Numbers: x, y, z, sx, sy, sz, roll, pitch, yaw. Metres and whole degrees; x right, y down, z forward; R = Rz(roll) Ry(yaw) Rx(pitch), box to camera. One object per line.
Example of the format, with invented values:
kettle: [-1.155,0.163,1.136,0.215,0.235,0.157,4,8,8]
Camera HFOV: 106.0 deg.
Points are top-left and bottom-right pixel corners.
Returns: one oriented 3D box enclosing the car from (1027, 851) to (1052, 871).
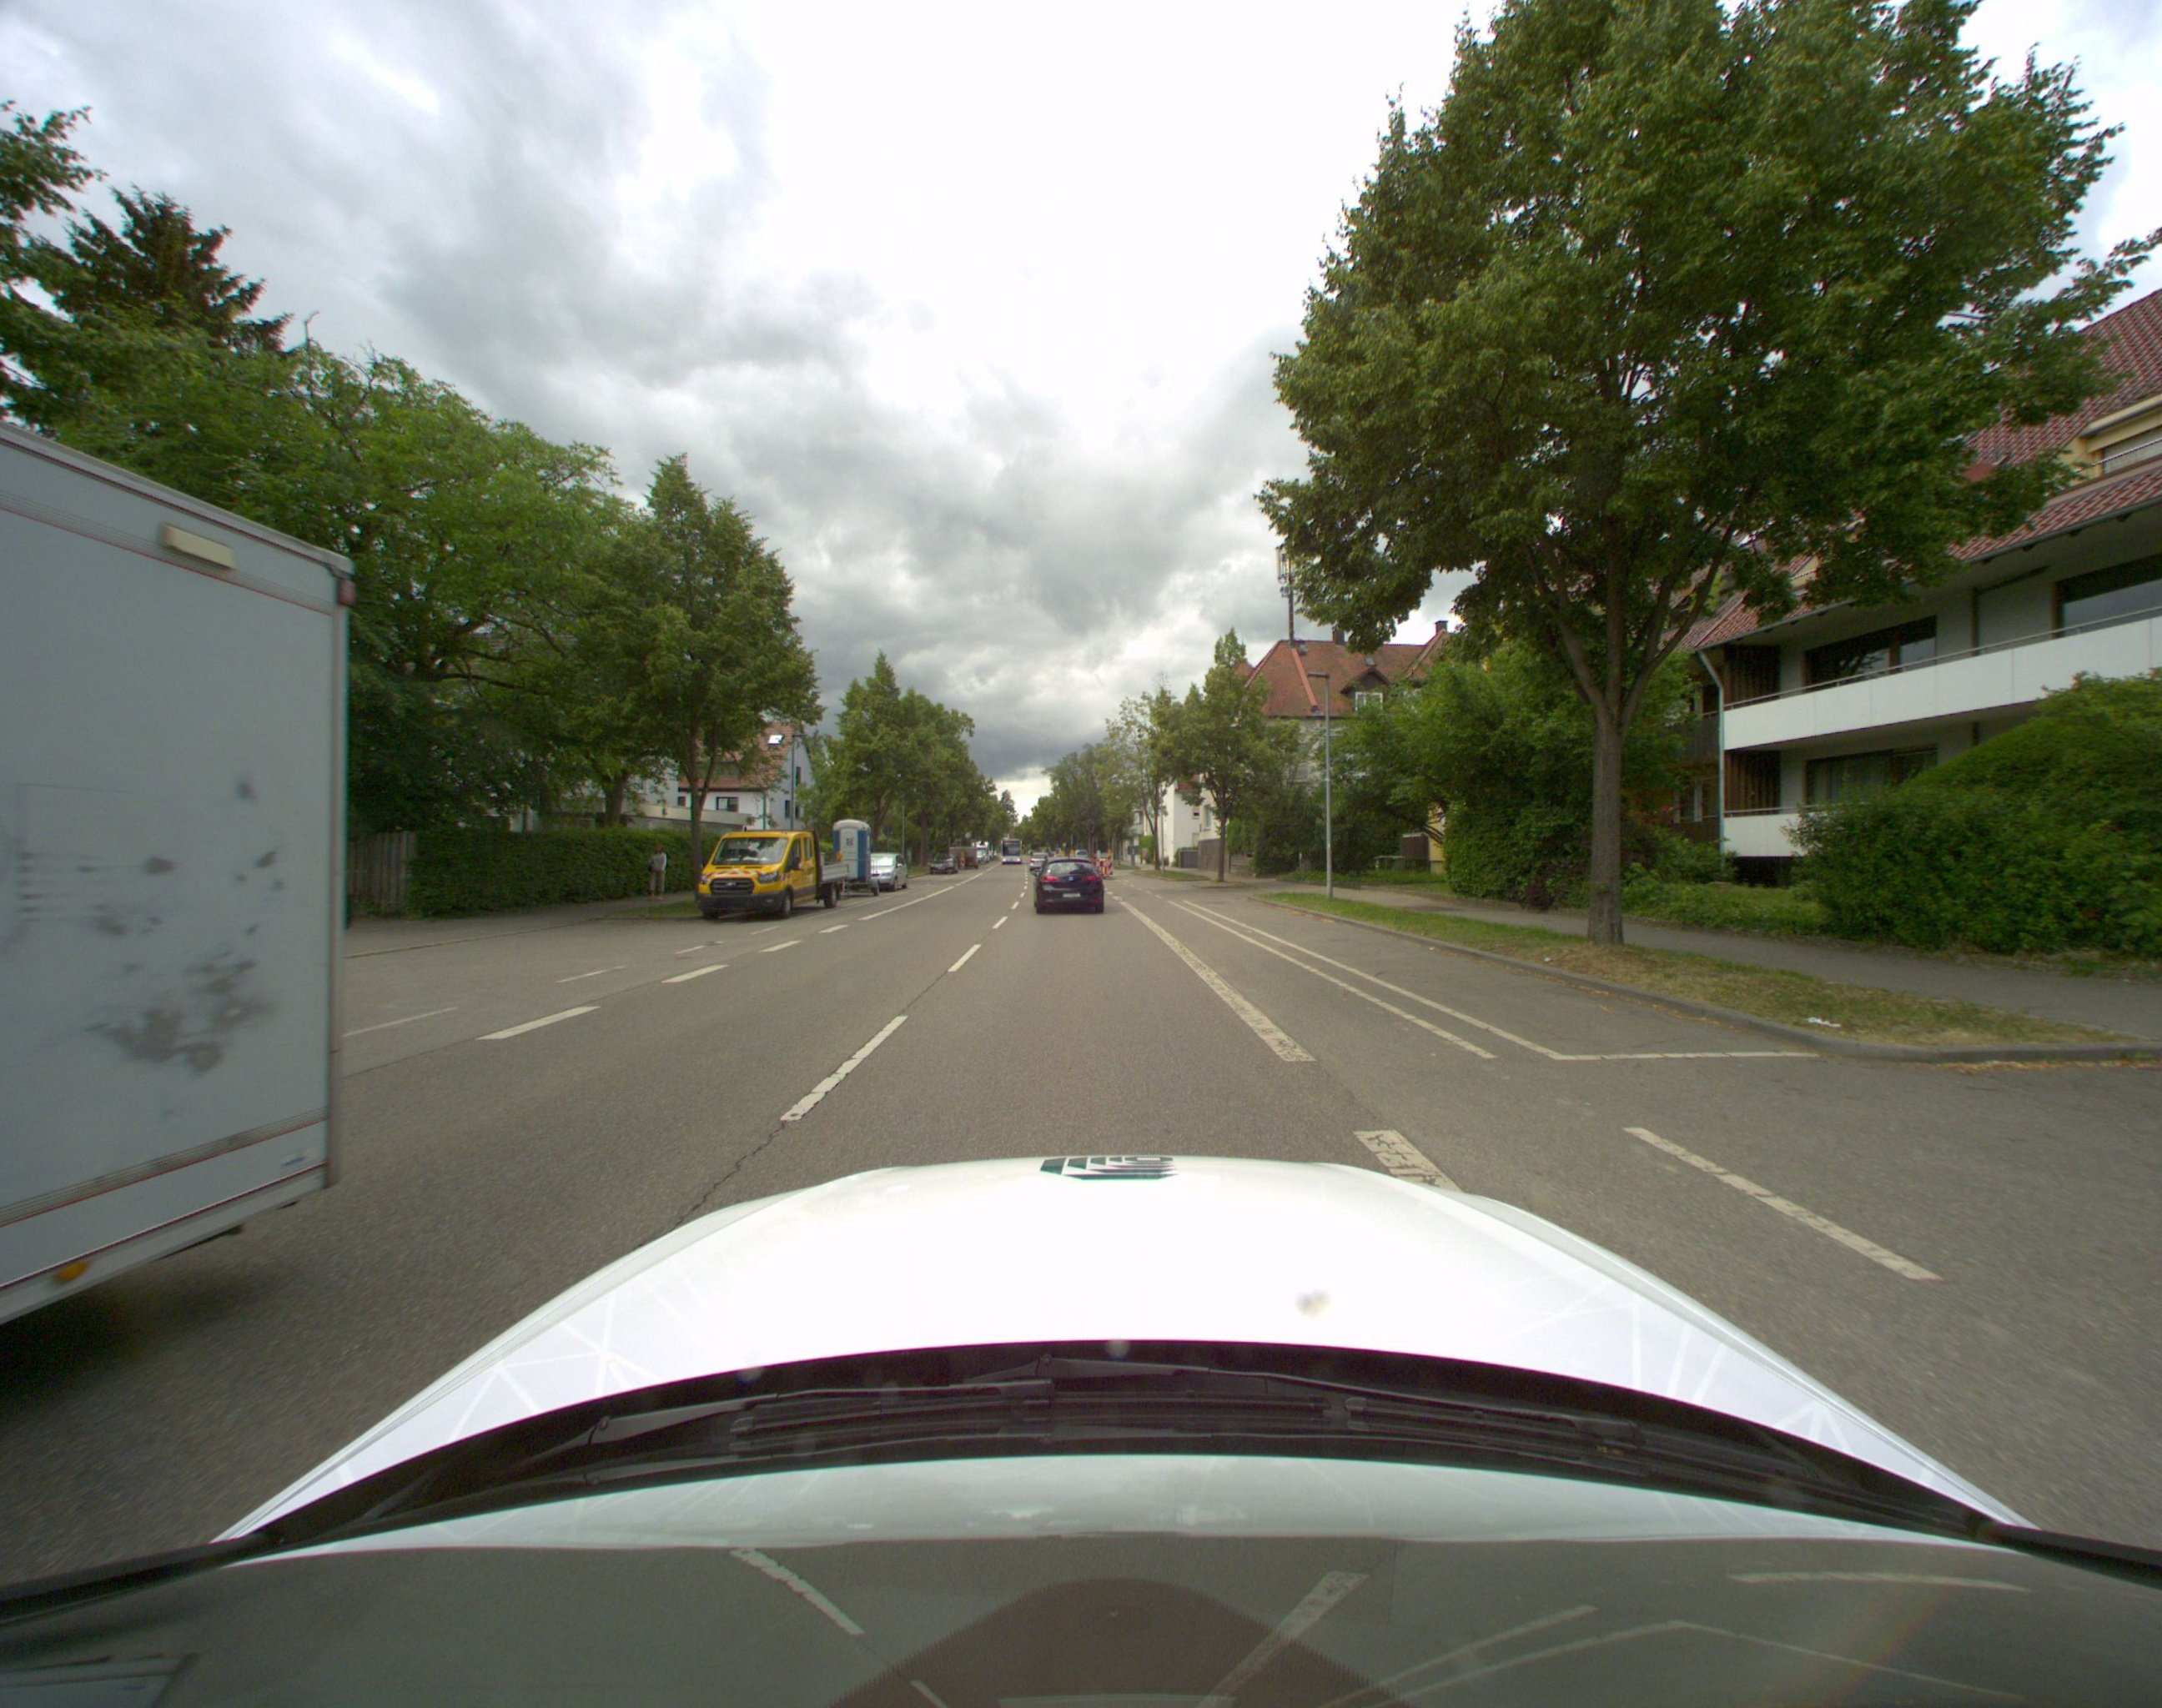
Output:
car: [-3.359,0.515,66.567,1.988,1.558,3.997,-1,0,-2]

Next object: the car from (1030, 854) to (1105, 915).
car: [-0.437,0.747,21.637,1.780,1.449,3.552,-1,0,-4]

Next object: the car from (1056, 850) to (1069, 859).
car: [-3.216,0.103,138.315,2.017,1.443,5.018,0,0,-4]

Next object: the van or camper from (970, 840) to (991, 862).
van or camper: [-13.898,-0.429,113.472,2.430,3.009,7.682,-1,0,-4]

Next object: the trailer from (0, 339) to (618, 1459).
trailer: [-4.102,0.124,1.358,2.625,2.878,6.871,-1,0,1]

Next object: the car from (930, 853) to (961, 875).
car: [-10.099,0.784,61.122,1.856,1.553,4.613,0,-2,-4]

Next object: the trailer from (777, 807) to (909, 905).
trailer: [-8.040,0.060,28.453,2.364,2.963,7.011,-1,0,1]

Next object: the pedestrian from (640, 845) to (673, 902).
pedestrian: [-13.192,0.588,25.331,0.638,1.742,0.722,0,0,1]

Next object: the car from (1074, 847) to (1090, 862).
car: [0.137,0.035,94.797,1.629,1.665,3.642,-1,0,-4]

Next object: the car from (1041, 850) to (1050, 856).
car: [-8.333,-0.243,193.303,1.683,1.432,4.031,-1,0,-9]

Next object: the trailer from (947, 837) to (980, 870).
trailer: [-10.901,-0.045,76.087,2.669,2.941,7.462,0,-1,-5]

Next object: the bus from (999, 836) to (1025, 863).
bus: [-8.972,-0.509,107.546,2.798,3.288,18.023,0,0,-3]

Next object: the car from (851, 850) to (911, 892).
car: [-8.456,0.707,34.763,1.685,1.684,4.221,0,-1,-3]

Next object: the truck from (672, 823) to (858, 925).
truck: [-8.067,0.447,21.726,2.287,2.287,6.464,-1,0,1]
